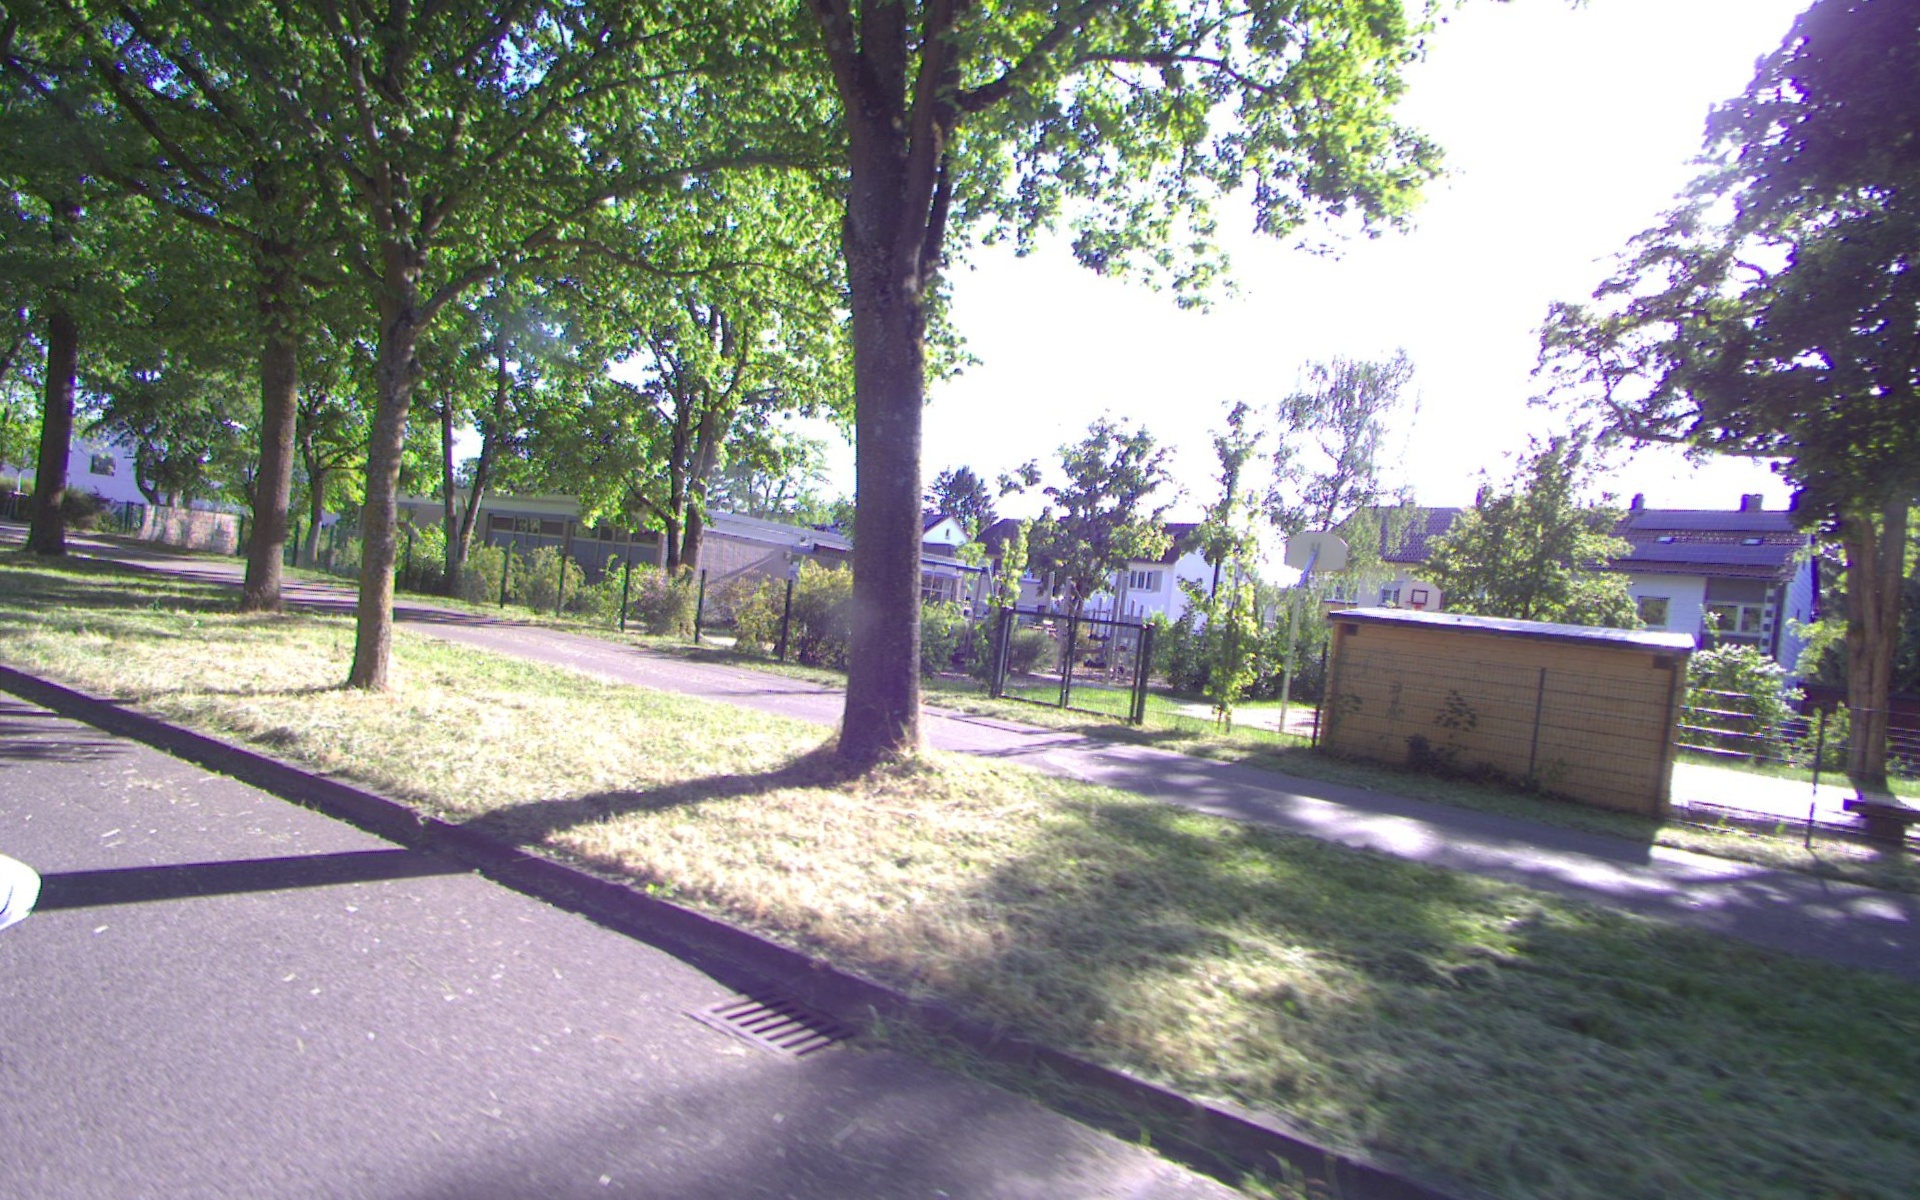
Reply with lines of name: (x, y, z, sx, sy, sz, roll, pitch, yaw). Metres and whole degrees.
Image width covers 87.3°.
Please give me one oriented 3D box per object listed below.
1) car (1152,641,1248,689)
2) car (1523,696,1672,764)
car: (11.277, 3.053, 47.404, 1.889, 1.771, 3.958, 6, -1, -39)
car: (22.469, 4.534, 35.554, 1.889, 1.771, 3.958, 6, -1, -39)
